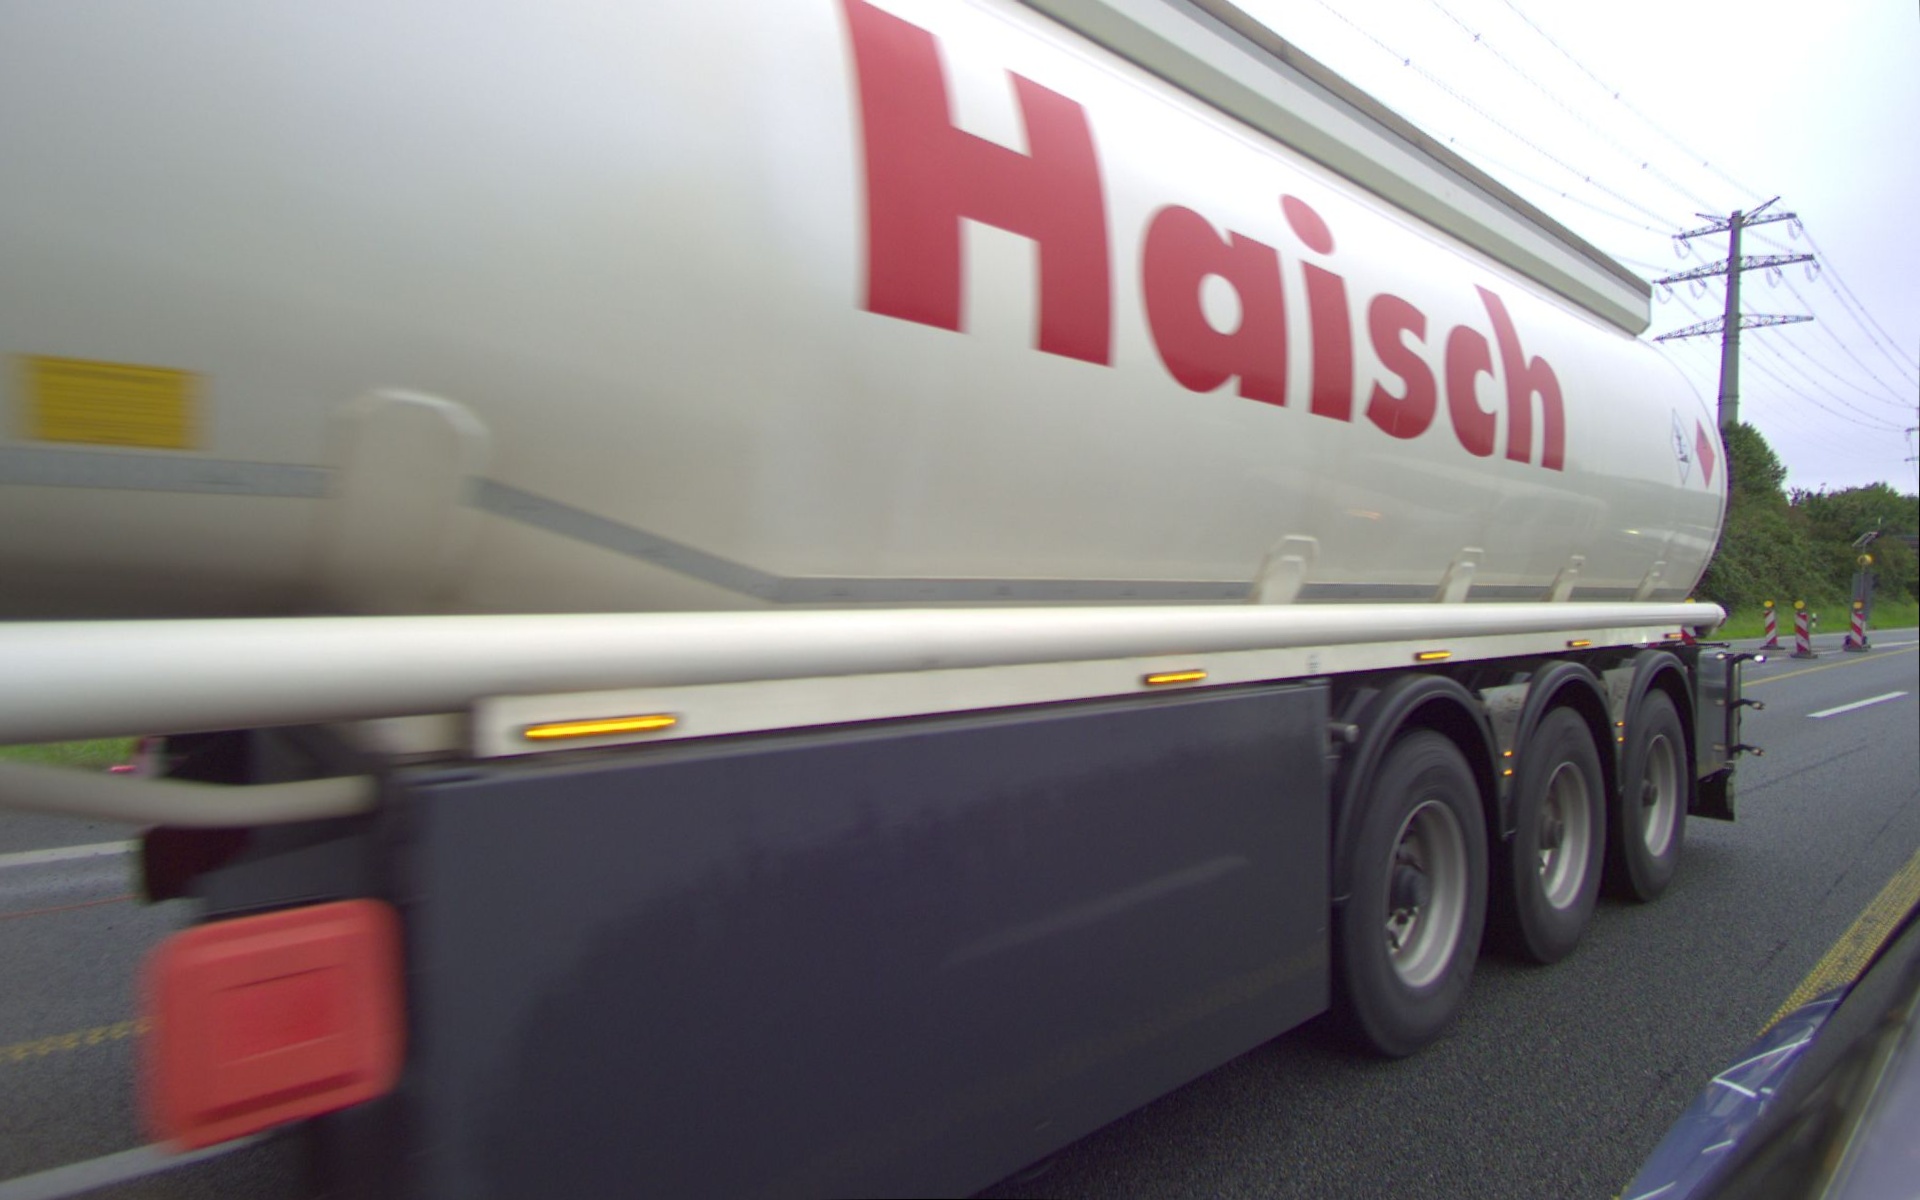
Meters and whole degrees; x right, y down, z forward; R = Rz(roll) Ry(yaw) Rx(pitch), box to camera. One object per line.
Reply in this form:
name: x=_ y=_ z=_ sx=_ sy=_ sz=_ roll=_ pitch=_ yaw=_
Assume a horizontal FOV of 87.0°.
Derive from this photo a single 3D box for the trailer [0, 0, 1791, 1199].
trailer: x=0.174 y=-0.529 z=3.623 sx=10.360 sy=3.942 sz=2.642 roll=-1 pitch=0 yaw=-41
